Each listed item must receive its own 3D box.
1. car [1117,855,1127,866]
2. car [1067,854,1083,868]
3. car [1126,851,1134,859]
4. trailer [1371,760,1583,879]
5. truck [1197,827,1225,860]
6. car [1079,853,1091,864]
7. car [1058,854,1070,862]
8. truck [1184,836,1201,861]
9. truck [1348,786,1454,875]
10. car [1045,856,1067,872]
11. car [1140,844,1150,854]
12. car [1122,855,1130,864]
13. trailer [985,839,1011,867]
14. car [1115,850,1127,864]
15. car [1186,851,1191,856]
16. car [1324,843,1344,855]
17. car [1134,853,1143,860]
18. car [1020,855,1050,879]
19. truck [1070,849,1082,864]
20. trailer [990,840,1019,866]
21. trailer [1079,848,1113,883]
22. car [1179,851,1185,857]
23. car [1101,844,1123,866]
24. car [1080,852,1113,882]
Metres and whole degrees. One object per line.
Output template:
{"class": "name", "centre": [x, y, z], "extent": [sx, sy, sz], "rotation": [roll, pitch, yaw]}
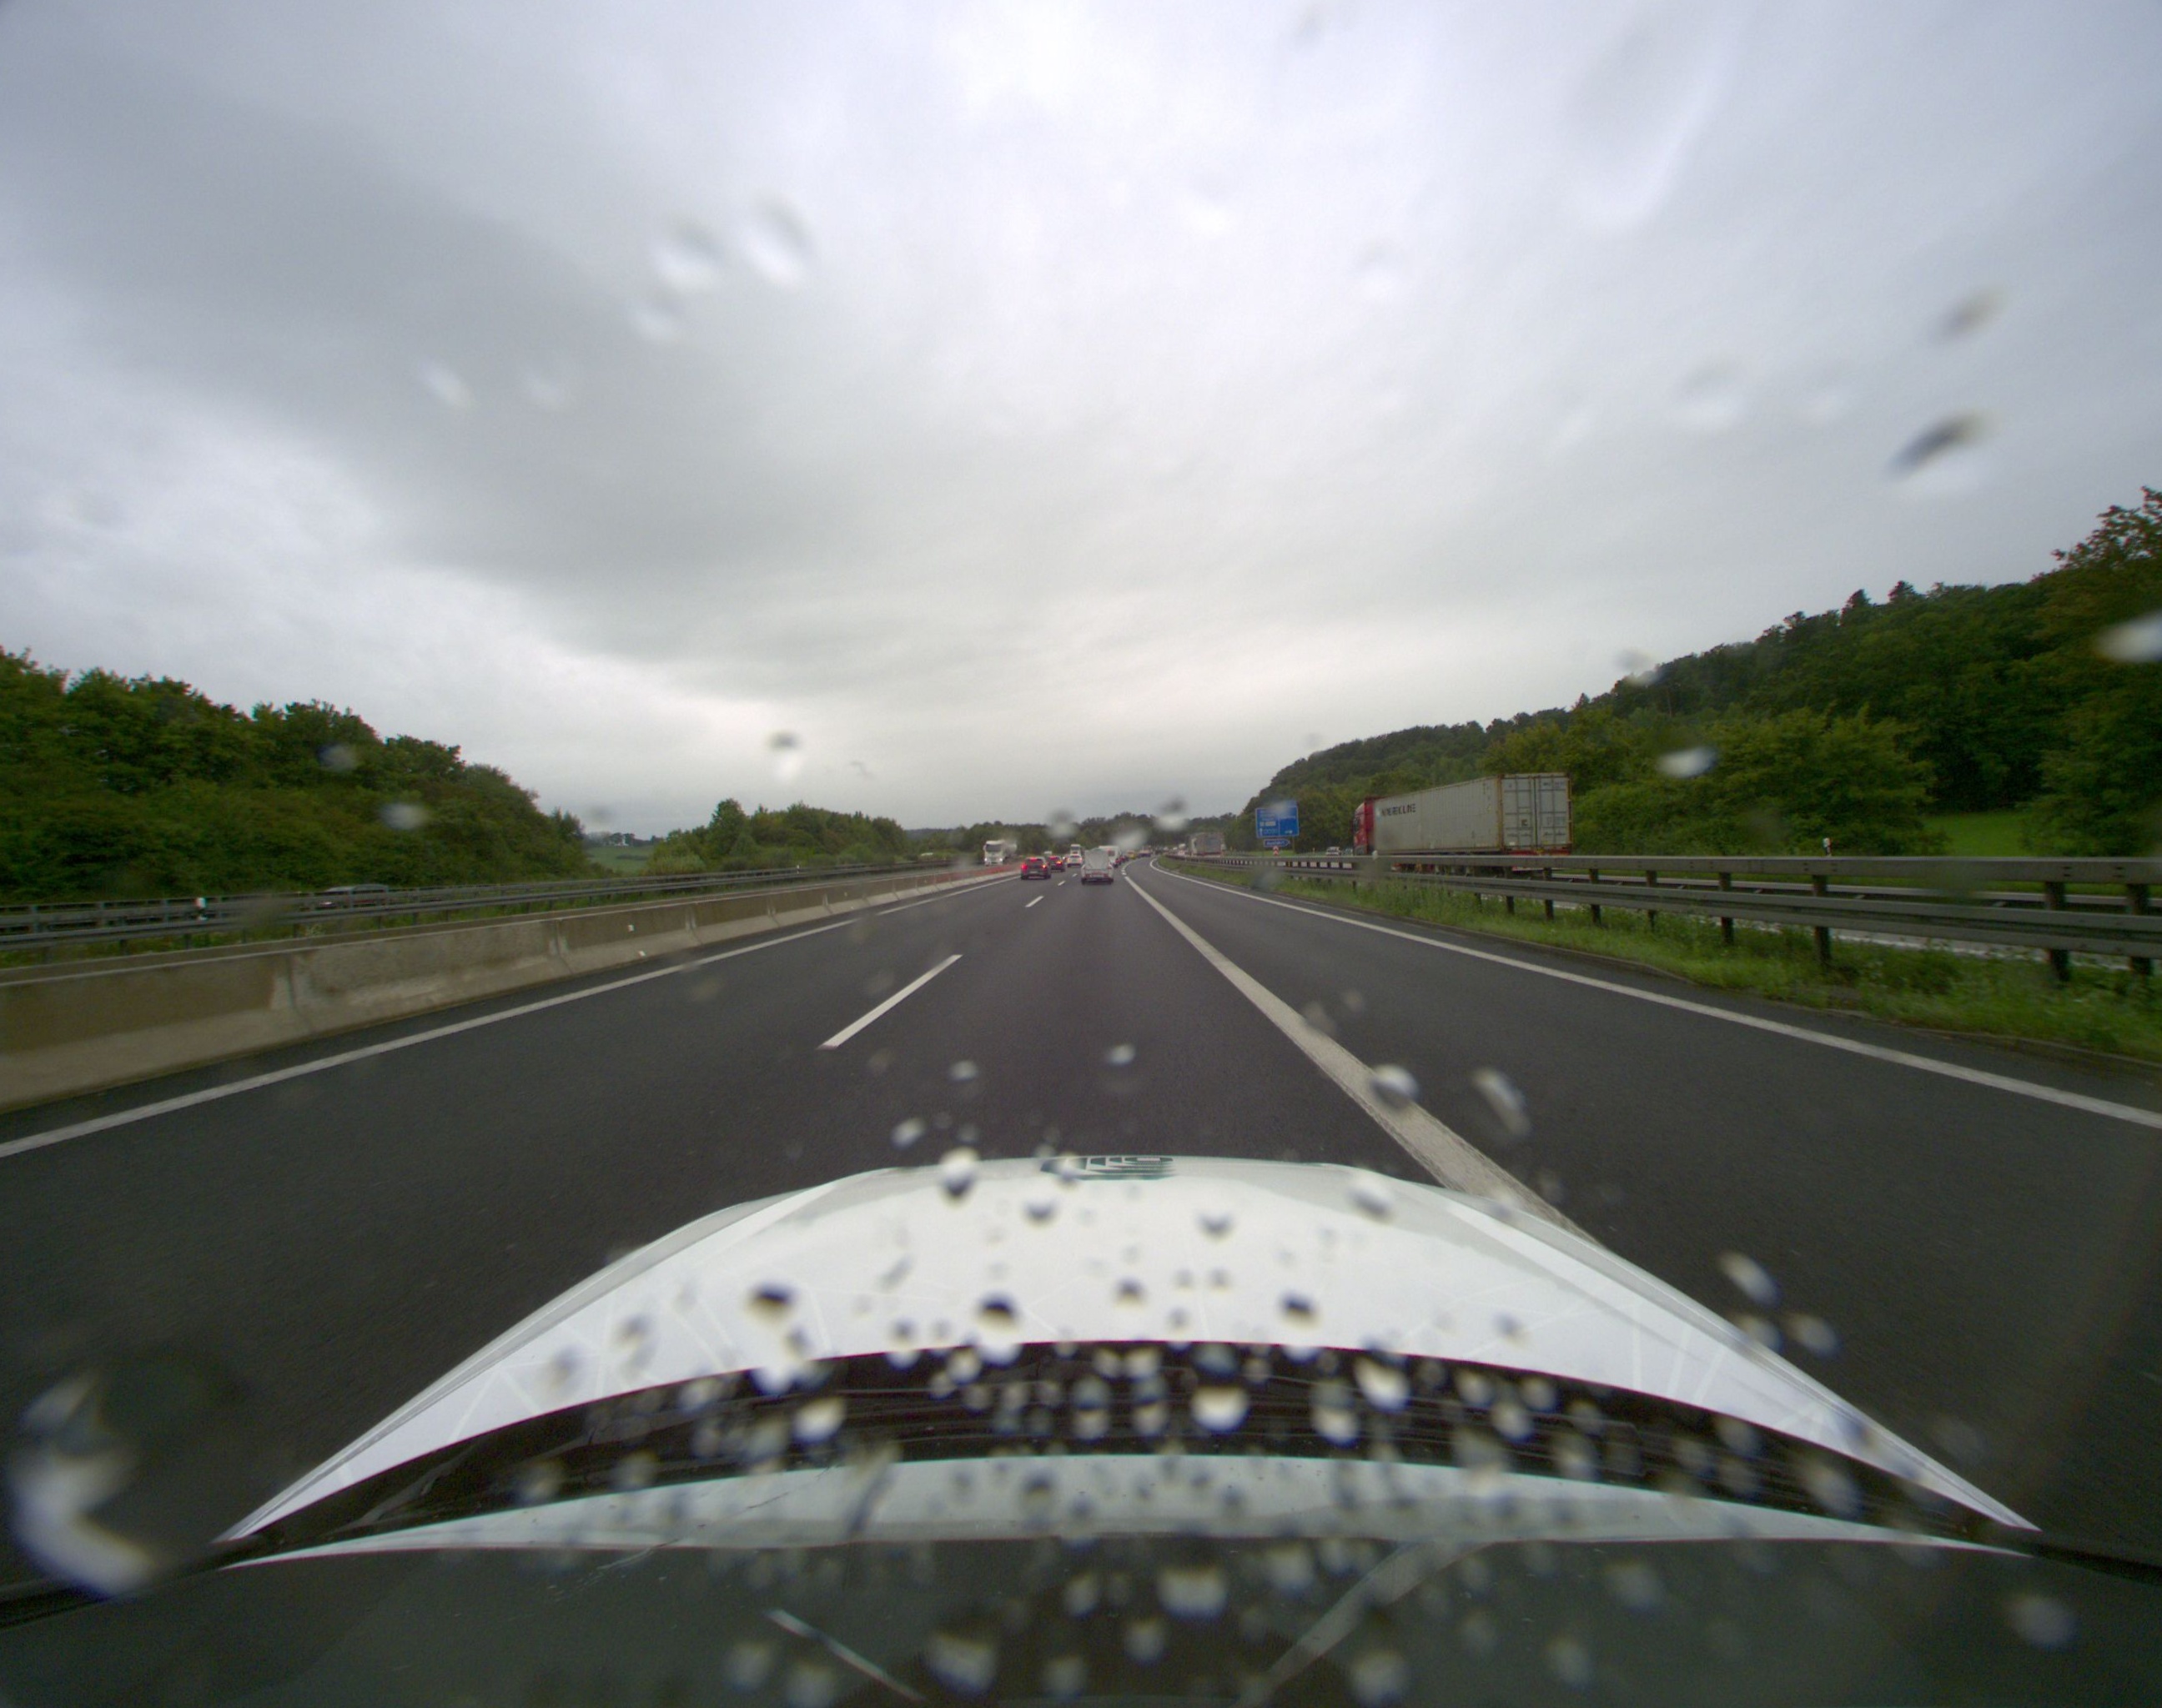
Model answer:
{"class": "car", "centre": [7.218, 1.085, 143.191], "extent": [1.668, 1.812, 4.004], "rotation": [-1, 0, 4]}
{"class": "car", "centre": [-0.708, 0.865, 100.431], "extent": [1.768, 1.640, 4.046], "rotation": [-1, 0, 3]}
{"class": "car", "centre": [11.379, 0.269, 188.485], "extent": [1.668, 1.812, 4.004], "rotation": [-1, 0, 4]}
{"class": "trailer", "centre": [15.313, -1.106, 33.181], "extent": [2.595, 3.894, 12.490], "rotation": [-1, 0, 1]}
{"class": "truck", "centre": [19.586, -1.481, 123.456], "extent": [3.200, 4.666, 13.050], "rotation": [-1, 0, 5]}
{"class": "car", "centre": [0.598, 0.684, 122.951], "extent": [1.769, 1.640, 4.044], "rotation": [-1, 0, 1]}
{"class": "car", "centre": [-3.565, 0.905, 172.107], "extent": [1.799, 1.580, 4.363], "rotation": [-1, 0, 6]}
{"class": "truck", "centre": [22.353, -1.005, 162.742], "extent": [3.197, 4.666, 13.062], "rotation": [-1, 0, 8]}
{"class": "truck", "centre": [15.291, -1.024, 39.423], "extent": [2.607, 3.884, 6.392], "rotation": [-1, 0, 0]}
{"class": "car", "centre": [-2.288, 0.906, 75.372], "extent": [1.759, 1.456, 4.001], "rotation": [-1, 0, 1]}
{"class": "car", "centre": [18.428, -1.447, 234.887], "extent": [2.503, 2.574, 5.321], "rotation": [-1, 0, 6]}
{"class": "car", "centre": [8.993, 1.051, 162.345], "extent": [1.668, 1.812, 4.004], "rotation": [-1, 0, 4]}
{"class": "trailer", "centre": [-11.680, -0.098, 114.891], "extent": [2.625, 3.715, 6.496], "rotation": [-1, 0, 3]}
{"class": "car", "centre": [5.736, 0.442, 117.876], "extent": [1.669, 2.067, 4.002], "rotation": [-1, 0, 2]}
{"class": "car", "centre": [34.044, -0.167, 257.893], "extent": [1.667, 1.456, 4.006], "rotation": [-1, 0, 5]}
{"class": "car", "centre": [33.100, -0.665, 106.542], "extent": [1.660, 1.456, 4.025], "rotation": [-1, 0, 29]}
{"class": "car", "centre": [14.503, 0.553, 205.416], "extent": [2.026, 1.683, 4.008], "rotation": [-1, 0, 7]}
{"class": "car", "centre": [-3.000, 0.839, 53.873], "extent": [1.670, 1.456, 4.001], "rotation": [-1, 0, 1]}
{"class": "truck", "centre": [-1.183, 0.606, 214.654], "extent": [2.876, 3.749, 5.947], "rotation": [-1, 0, 2]}
{"class": "trailer", "centre": [-11.325, -0.096, 120.944], "extent": [2.625, 3.736, 10.820], "rotation": [-1, 0, 3]}
{"class": "trailer", "centre": [0.855, 0.614, 44.148], "extent": [1.669, 1.812, 4.002], "rotation": [-1, 0, 2]}
{"class": "car", "centre": [26.828, -0.035, 216.331], "extent": [1.667, 1.456, 4.008], "rotation": [-1, 0, 7]}
{"class": "car", "centre": [3.764, 0.141, 97.632], "extent": [2.497, 2.585, 5.705], "rotation": [-1, 0, 4]}
{"class": "car", "centre": [0.979, 0.727, 47.902], "extent": [1.811, 1.616, 4.780], "rotation": [-1, 0, 2]}
